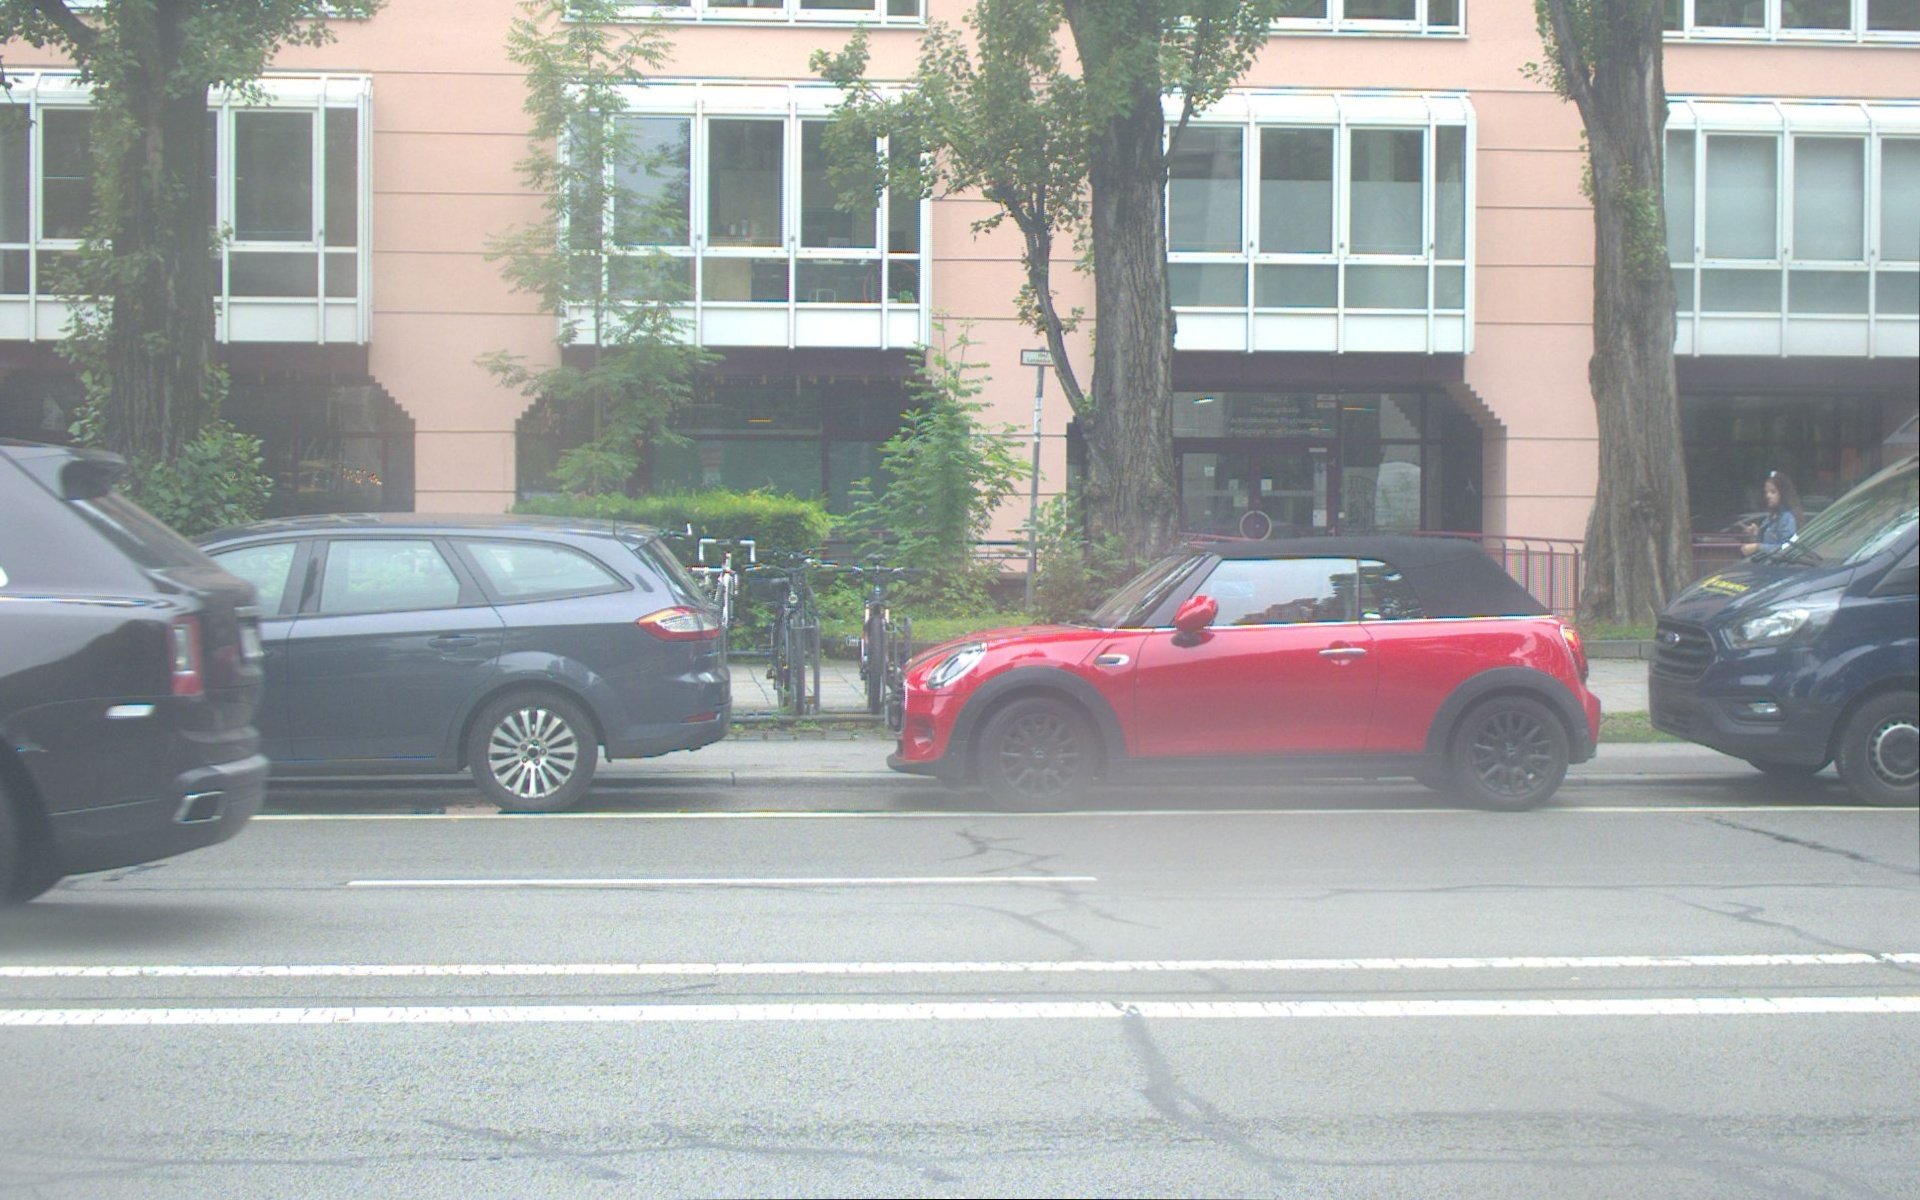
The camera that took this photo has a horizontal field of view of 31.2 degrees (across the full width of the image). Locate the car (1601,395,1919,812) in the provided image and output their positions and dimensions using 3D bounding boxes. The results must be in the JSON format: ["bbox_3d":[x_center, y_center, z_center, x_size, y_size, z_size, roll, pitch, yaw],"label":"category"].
[{"bbox_3d":[6.567,-0.013,19.286,5.478,2.189,2.024,0,2,-5],"label":"car"}]

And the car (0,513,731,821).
[{"bbox_3d":[-3.551,0.318,18.255,4.607,1.523,1.794,0,2,-5],"label":"car"}]

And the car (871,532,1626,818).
[{"bbox_3d":[1.475,0.373,18.574,3.860,1.443,1.678,0,2,-3],"label":"car"}]

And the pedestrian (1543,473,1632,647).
[{"bbox_3d":[6.245,-0.402,34.243,0.707,1.707,0.732,0,2,-3],"label":"pedestrian"}]

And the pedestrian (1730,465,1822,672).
[{"bbox_3d":[6.596,-0.263,27.803,0.557,1.657,0.621,0,2,-2],"label":"pedestrian"}]

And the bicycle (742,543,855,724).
[{"bbox_3d":[-1.084,0.199,22.836,0.674,1.120,1.742,0,2,-5],"label":"bicycle"}]

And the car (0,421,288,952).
[{"bbox_3d":[-4.984,0.285,12.054,5.046,1.743,2.000,0,0,-8],"label":"car"}]

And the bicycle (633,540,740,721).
[{"bbox_3d":[-1.821,0.179,22.797,0.674,1.120,1.742,0,2,-5],"label":"bicycle"}]

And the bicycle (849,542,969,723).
[{"bbox_3d":[-0.352,0.193,22.874,0.674,1.120,1.730,0,2,-5],"label":"bicycle"}]
